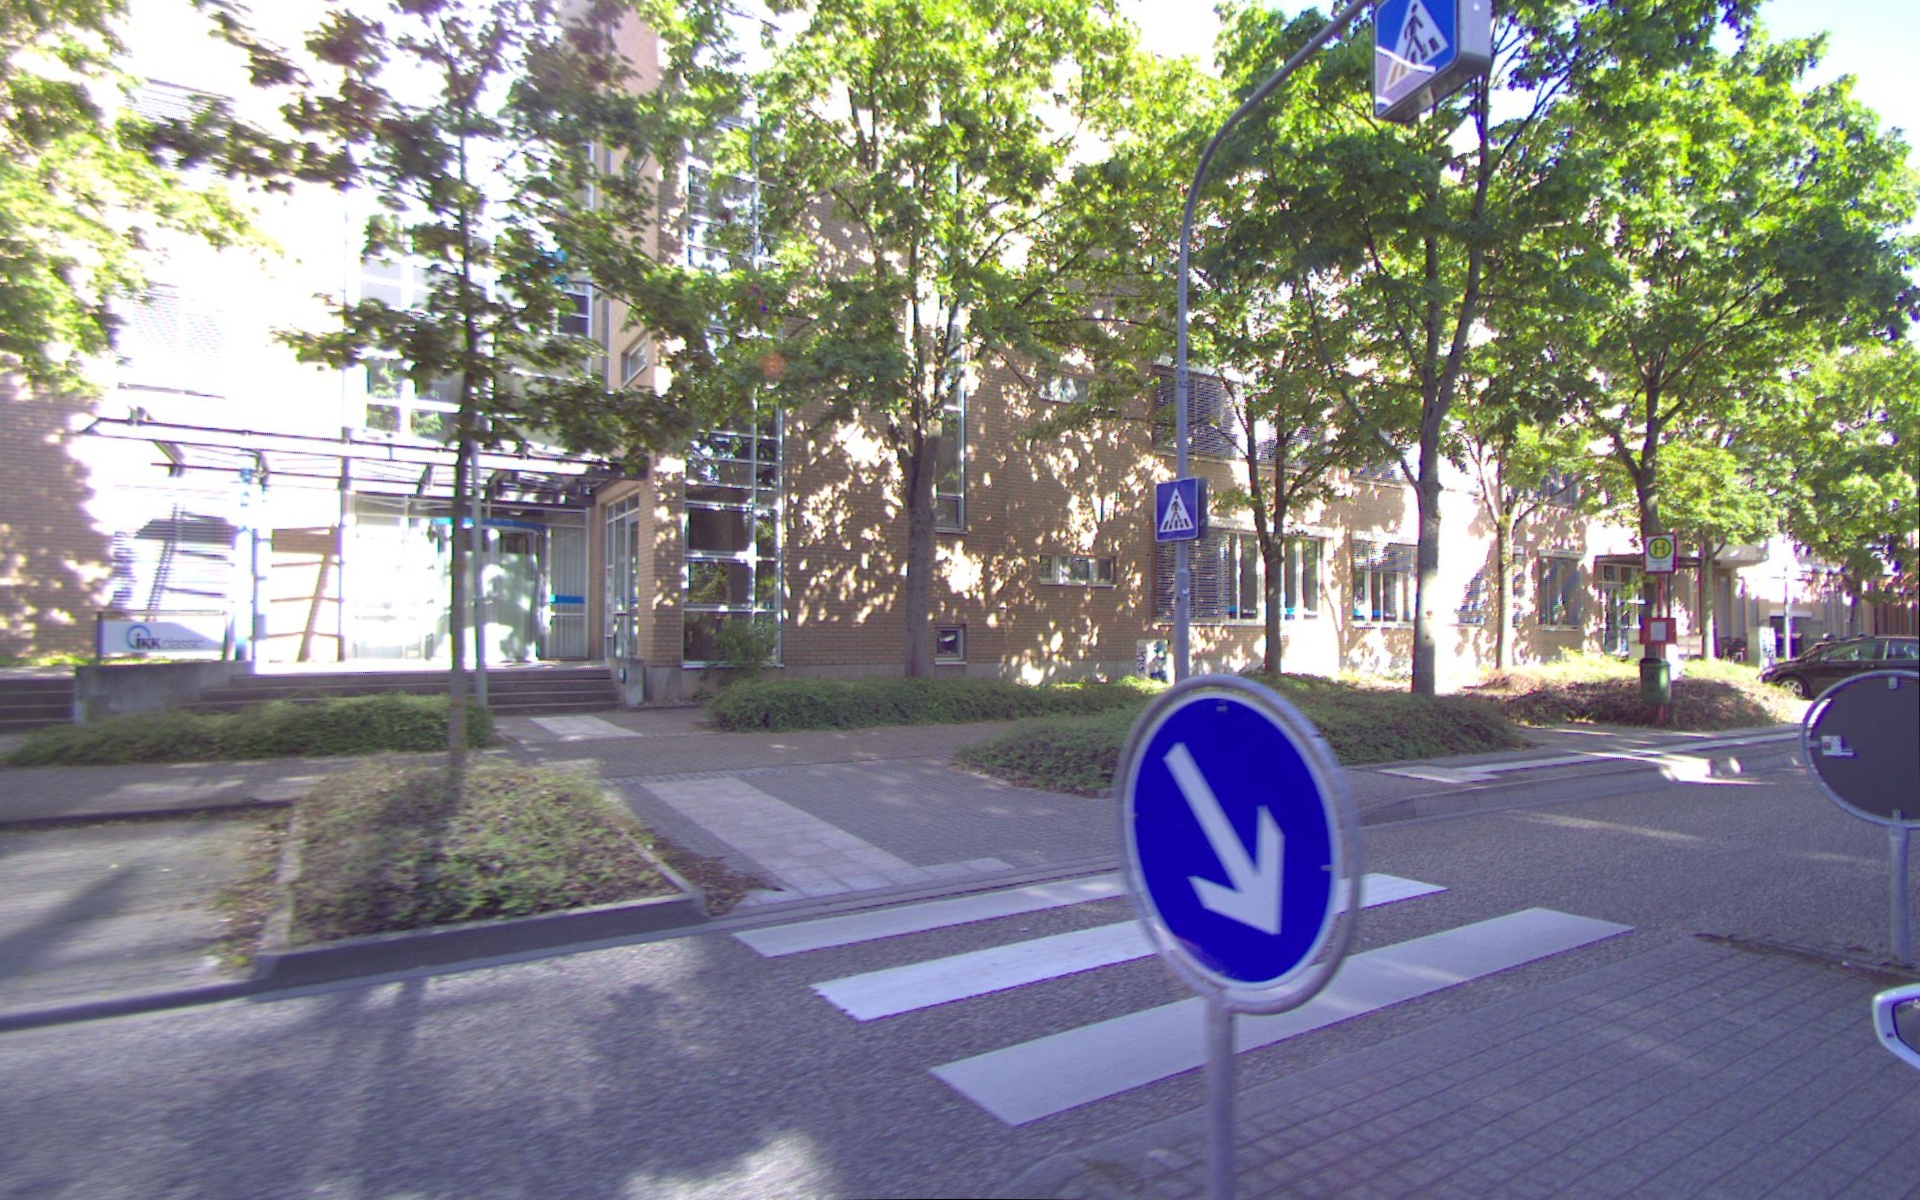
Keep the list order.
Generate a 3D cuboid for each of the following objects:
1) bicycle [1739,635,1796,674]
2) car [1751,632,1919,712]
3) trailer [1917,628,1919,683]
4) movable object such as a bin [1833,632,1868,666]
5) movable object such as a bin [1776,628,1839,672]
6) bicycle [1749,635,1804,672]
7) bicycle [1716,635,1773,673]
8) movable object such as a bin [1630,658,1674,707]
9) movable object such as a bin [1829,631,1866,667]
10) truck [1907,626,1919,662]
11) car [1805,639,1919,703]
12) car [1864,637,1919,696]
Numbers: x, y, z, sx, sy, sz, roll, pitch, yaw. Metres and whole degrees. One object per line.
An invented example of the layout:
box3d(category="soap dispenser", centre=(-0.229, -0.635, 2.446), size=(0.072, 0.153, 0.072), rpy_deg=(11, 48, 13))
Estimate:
box3d(category="bicycle", centre=(31.500, 2.105, 39.207), size=(1.701, 1.427, 0.612), rpy_deg=(0, -1, 36))
box3d(category="car", centre=(20.622, 1.588, 22.708), size=(1.709, 1.591, 3.965), rpy_deg=(1, 0, -32))
box3d(category="trailer", centre=(30.952, 1.722, 30.270), size=(1.693, 1.710, 2.711), rpy_deg=(1, -1, -31))
box3d(category="movable object such as a bin", centre=(41.574, 2.280, 46.895), size=(1.236, 1.583, 1.134), rpy_deg=(2, -3, -44))
box3d(category="movable object such as a bin", centre=(36.538, 2.140, 43.317), size=(1.645, 1.820, 1.592), rpy_deg=(1, -2, -30))
box3d(category="bicycle", centre=(33.441, 2.180, 41.145), size=(1.701, 1.427, 0.612), rpy_deg=(0, -1, 36))
box3d(category="bicycle", centre=(30.448, 2.077, 39.033), size=(1.701, 1.427, 0.612), rpy_deg=(0, -1, 36))
box3d(category="movable object such as a bin", centre=(10.761, 1.277, 15.628), size=(0.403, 0.740, 0.439), rpy_deg=(2, -1, -32))
box3d(category="movable object such as a bin", centre=(40.635, 2.232, 45.984), size=(1.432, 1.641, 1.134), rpy_deg=(2, -3, -44))
box3d(category="truck", centre=(76.649, 3.326, 76.518), size=(2.551, 2.740, 6.069), rpy_deg=(1, -3, -33))
box3d(category="car", centre=(23.062, 1.715, 23.938), size=(1.781, 1.421, 4.129), rpy_deg=(1, -1, -32))
box3d(category="car", centre=(25.682, 1.743, 25.512), size=(1.735, 1.471, 3.734), rpy_deg=(1, -1, -32))
